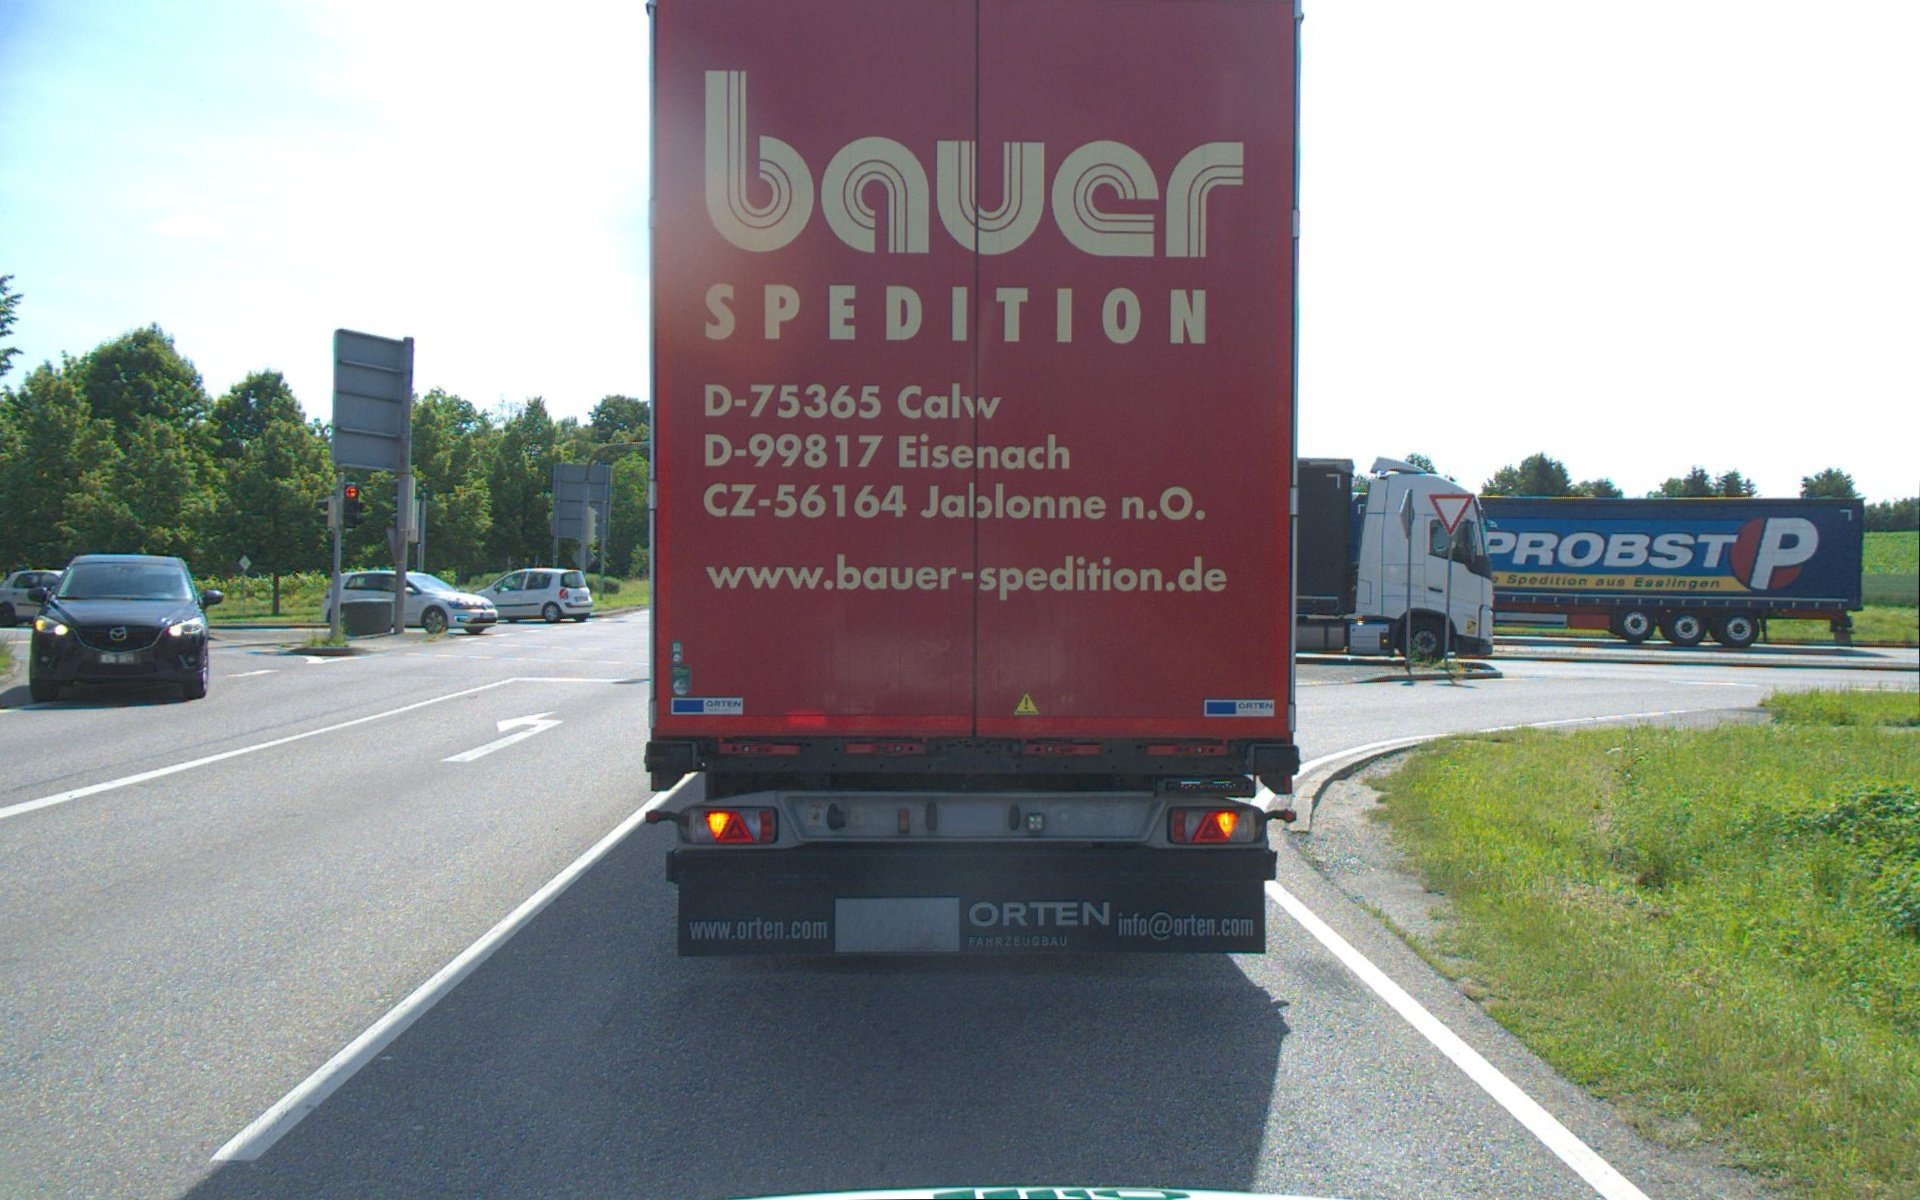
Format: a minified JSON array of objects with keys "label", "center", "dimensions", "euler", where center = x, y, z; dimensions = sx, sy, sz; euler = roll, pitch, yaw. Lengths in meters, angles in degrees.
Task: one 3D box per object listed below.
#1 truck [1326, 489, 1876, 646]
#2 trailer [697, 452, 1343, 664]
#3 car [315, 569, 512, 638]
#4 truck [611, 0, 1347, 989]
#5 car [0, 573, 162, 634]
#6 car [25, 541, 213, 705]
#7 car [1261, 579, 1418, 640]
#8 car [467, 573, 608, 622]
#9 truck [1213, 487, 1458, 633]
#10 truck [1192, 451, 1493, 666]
[{"label":"truck","center":[17.641,-1.018,46.689],"dimensions":[13.984,4.049,3.029],"euler":[1,1,19]},{"label":"trailer","center":[1.237,-0.979,35.275],"dimensions":[13.392,4.132,2.801],"euler":[1,1,13]},{"label":"car","center":[-12.887,0.053,39.045],"dimensions":[4.157,1.486,1.811],"euler":[1,1,17]},{"label":"truck","center":[-0.078,-0.659,14.418],"dimensions":[2.679,3.993,16.622],"euler":[1,1,-1]},{"label":"car","center":[-22.658,0.061,42.444],"dimensions":[3.953,1.441,1.795],"euler":[2,1,23]},{"label":"car","center":[-10.176,0.223,20.265],"dimensions":[1.842,1.780,4.079],"euler":[0,1,-24]},{"label":"car","center":[9.903,0.245,43.362],"dimensions":[3.910,1.517,1.539],"euler":[1,-1,11]},{"label":"car","center":[-12.625,-0.081,49.418],"dimensions":[3.768,1.380,1.677],"euler":[1,0,20]},{"label":"truck","center":[11.126,-1.214,48.894],"dimensions":[6.785,4.063,3.029],"euler":[1,1,18]},{"label":"truck","center":[7.681,-0.879,33.858],"dimensions":[5.701,4.132,2.801],"euler":[1,1,9]}]
